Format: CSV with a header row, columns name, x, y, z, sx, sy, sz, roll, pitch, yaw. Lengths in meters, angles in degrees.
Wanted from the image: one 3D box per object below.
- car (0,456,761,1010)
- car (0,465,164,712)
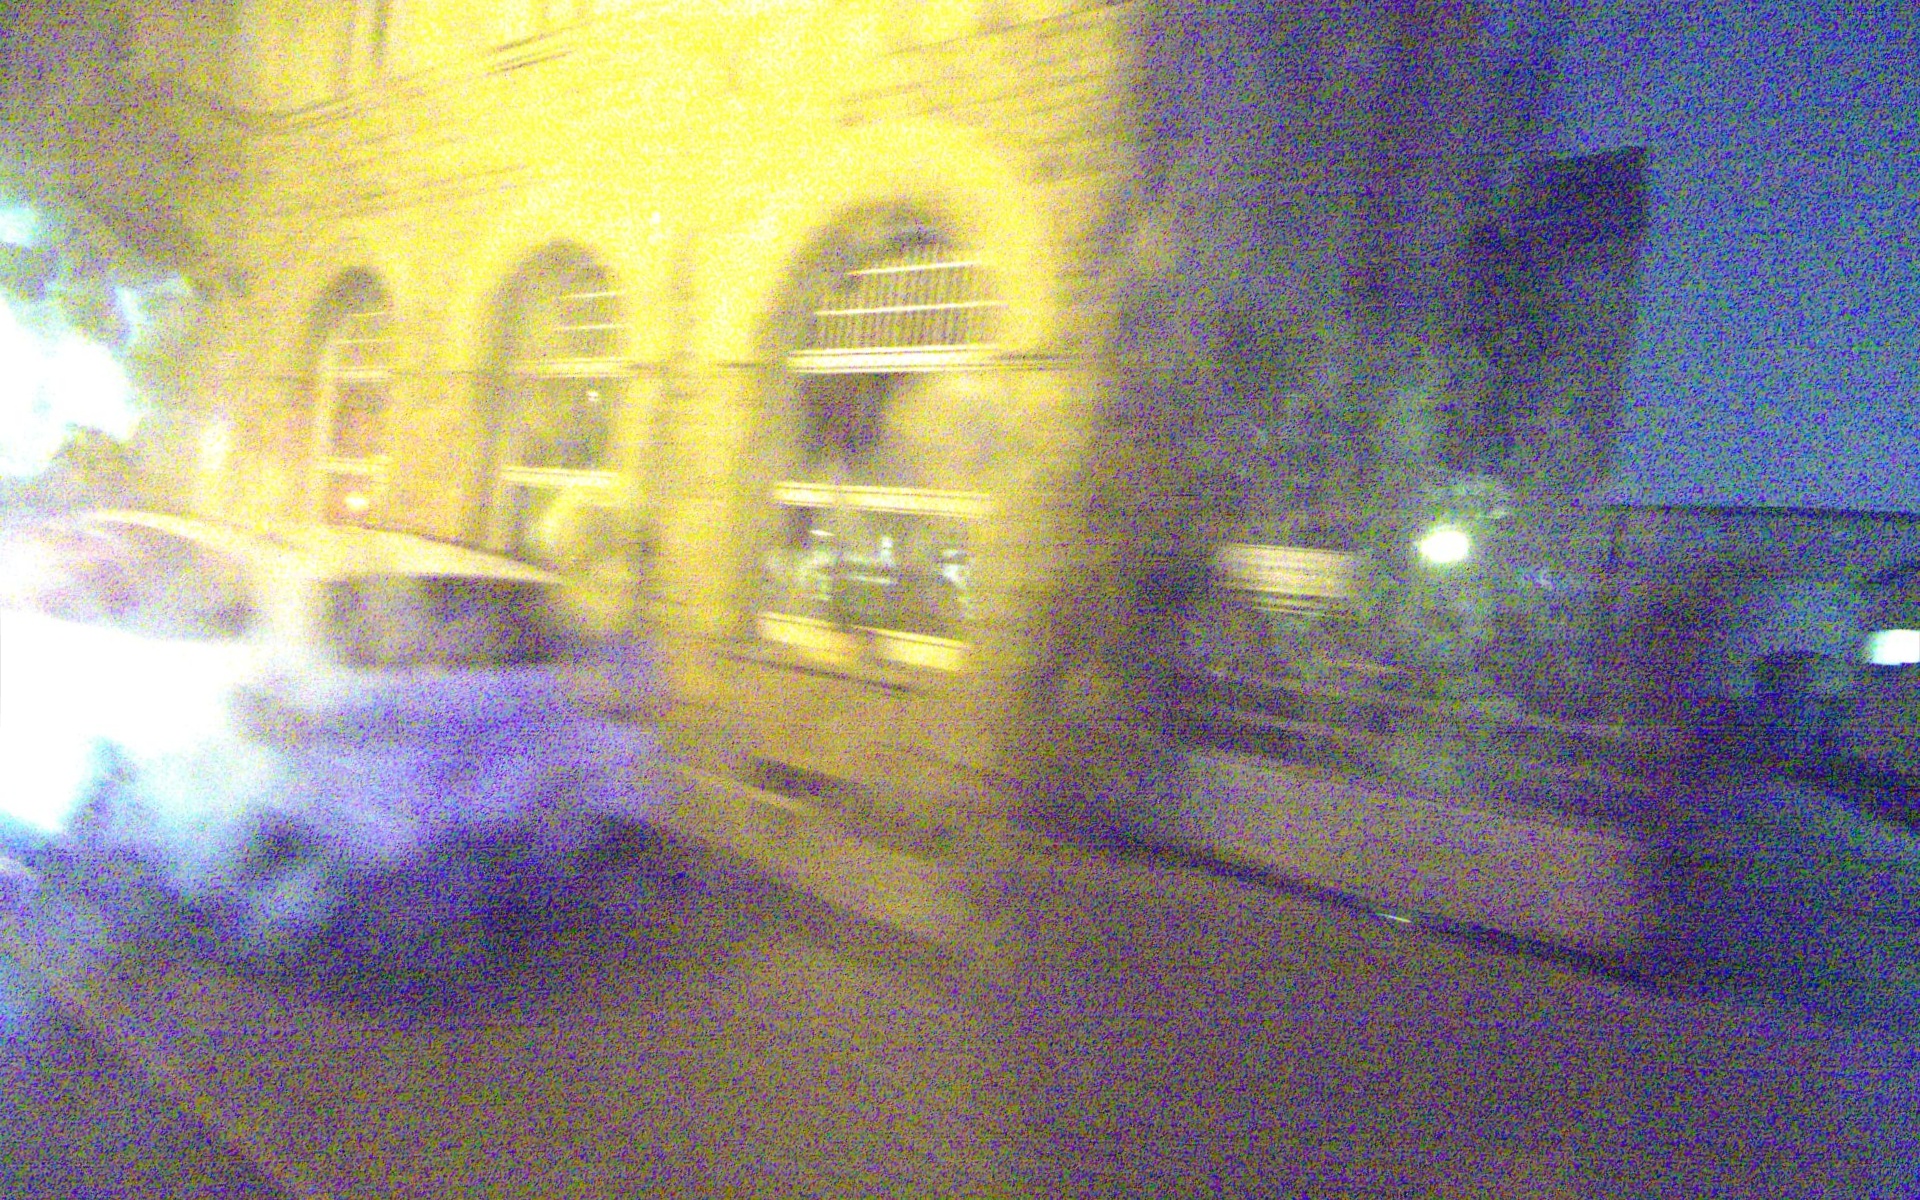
name,x,y,z,sx,sy,sz,roll,pitch,yaw
car,-3.318,0.248,4.779,4.343,1.482,1.996,7,0,31
car,-7.584,-0.276,7.024,3.823,1.517,1.693,7,0,28
